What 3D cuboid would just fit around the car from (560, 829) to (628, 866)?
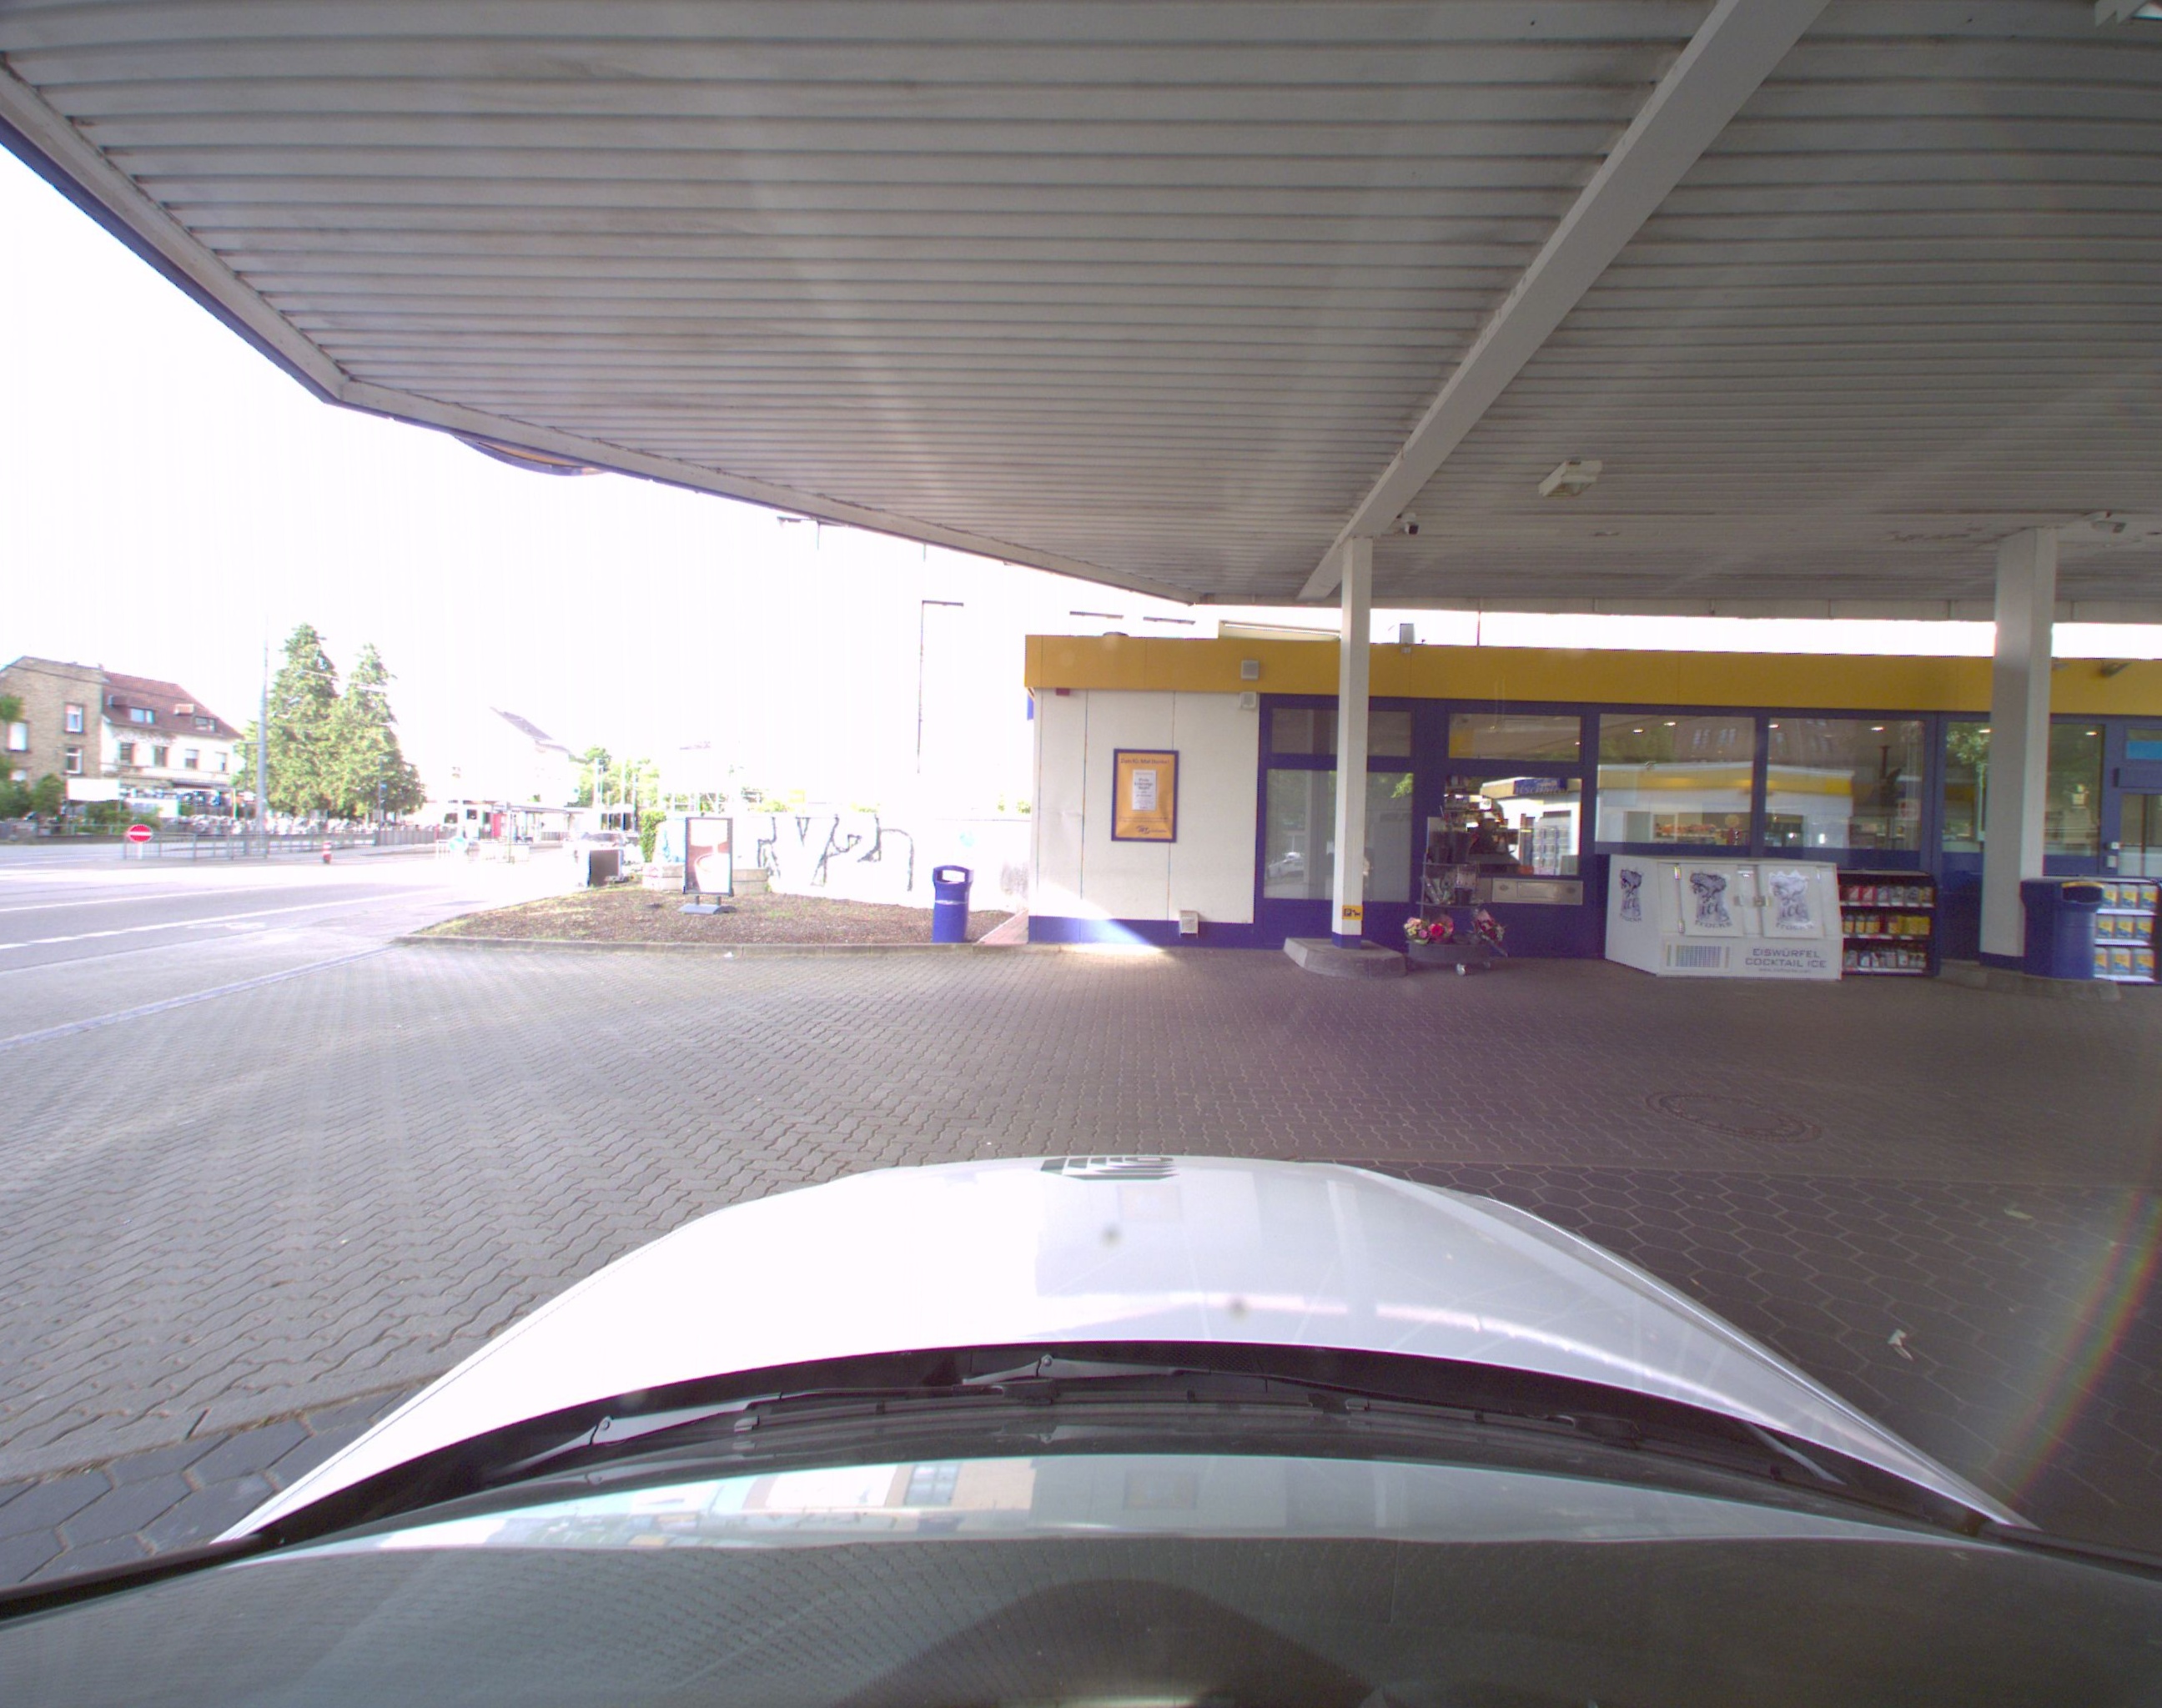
[{"bbox_3d":[-22.441,-0.330,37.668,1.670,1.547,3.692,2,1,-15],"label":"car"}]
